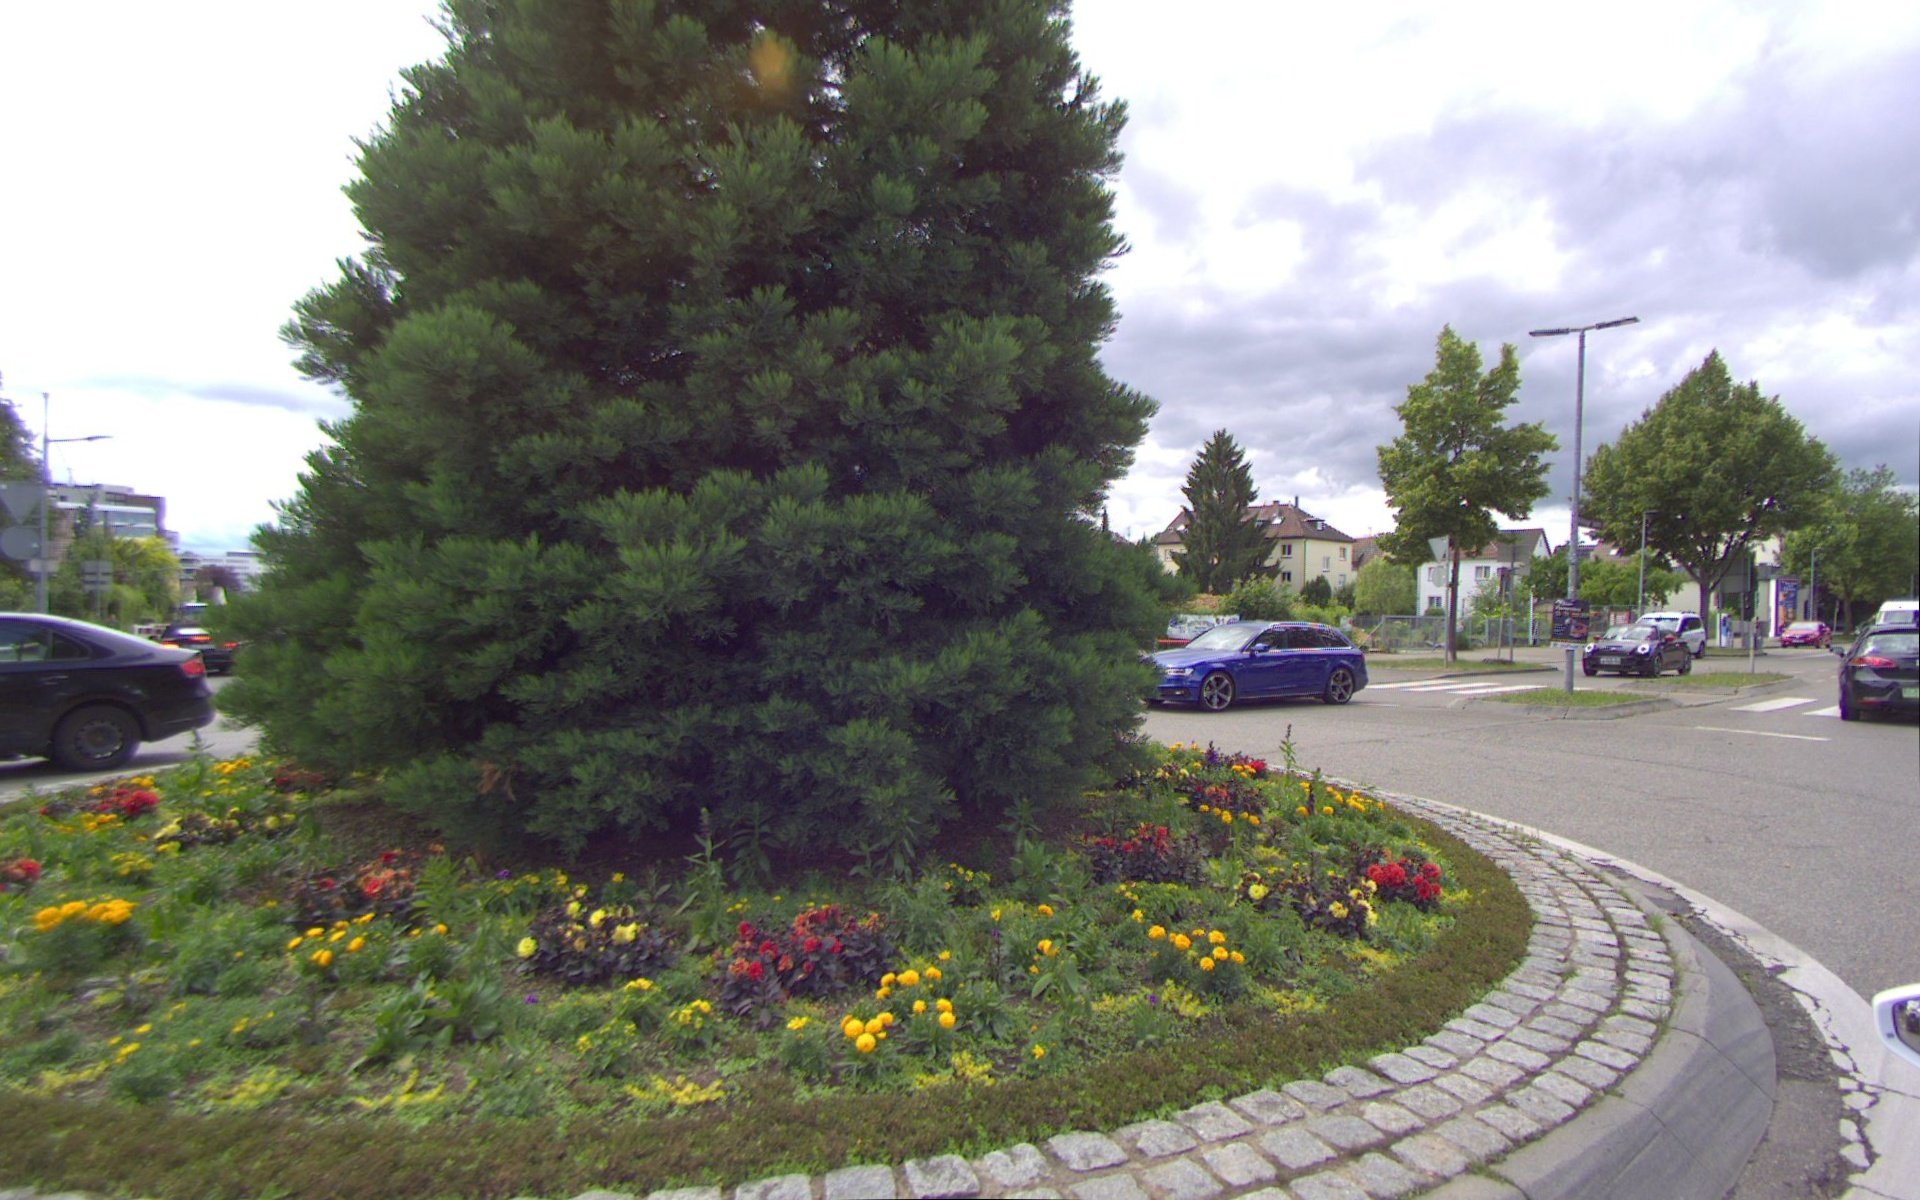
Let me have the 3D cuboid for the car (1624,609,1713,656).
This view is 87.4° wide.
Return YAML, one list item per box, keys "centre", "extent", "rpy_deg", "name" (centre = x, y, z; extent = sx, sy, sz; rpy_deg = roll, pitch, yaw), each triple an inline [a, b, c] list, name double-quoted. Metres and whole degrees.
- centre: [28.482, 1.270, 40.333]
  extent: [4.511, 1.794, 1.756]
  rpy_deg: [1, 0, -39]
  name: "car"

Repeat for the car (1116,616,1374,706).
- centre: [4.940, 1.020, 17.262]
  extent: [4.451, 1.390, 1.602]
  rpy_deg: [2, -2, -29]
  name: "car"

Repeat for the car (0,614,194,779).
- centre: [-9.110, 0.821, 8.494]
  extent: [1.517, 1.393, 3.962]
  rpy_deg: [-1, -2, 39]
  name: "car"

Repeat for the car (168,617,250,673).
- centre: [-20.346, 1.164, 27.242]
  extent: [1.684, 1.350, 3.576]
  rpy_deg: [1, 0, -37]
  name: "car"

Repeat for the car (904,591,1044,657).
- centre: [0.328, 0.647, 28.375]
  extent: [1.840, 1.684, 3.886]
  rpy_deg: [3, 0, -39]
  name: "car"

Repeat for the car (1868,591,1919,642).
- centre: [52.659, 0.925, 56.119]
  extent: [5.755, 2.709, 2.003]
  rpy_deg: [1, 0, -39]
  name: "car"

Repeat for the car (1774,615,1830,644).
- centre: [47.519, 1.643, 56.644]
  extent: [4.096, 1.561, 1.672]
  rpy_deg: [1, 0, -39]
  name: "car"

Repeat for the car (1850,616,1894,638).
- centre: [64.673, 1.920, 71.219]
  extent: [4.265, 1.488, 1.717]
  rpy_deg: [1, -1, -40]
  name: "car"

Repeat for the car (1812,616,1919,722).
- centre: [14.395, 0.982, 15.389]
  extent: [1.796, 1.457, 3.725]
  rpy_deg: [-1, -1, 37]
  name: "car"

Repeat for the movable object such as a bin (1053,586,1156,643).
- centre: [5.957, 0.597, 41.177]
  extent: [4.330, 2.217, 1.878]
  rpy_deg: [1, -1, -42]
  name: "movable object such as a bin"

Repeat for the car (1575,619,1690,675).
- centre: [18.247, 1.226, 27.202]
  extent: [3.710, 1.380, 1.561]
  rpy_deg: [1, 0, -39]
  name: "car"

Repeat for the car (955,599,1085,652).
- centre: [1.758, 0.732, 30.251]
  extent: [1.732, 1.421, 3.886]
  rpy_deg: [1, 1, -39]
  name: "car"
